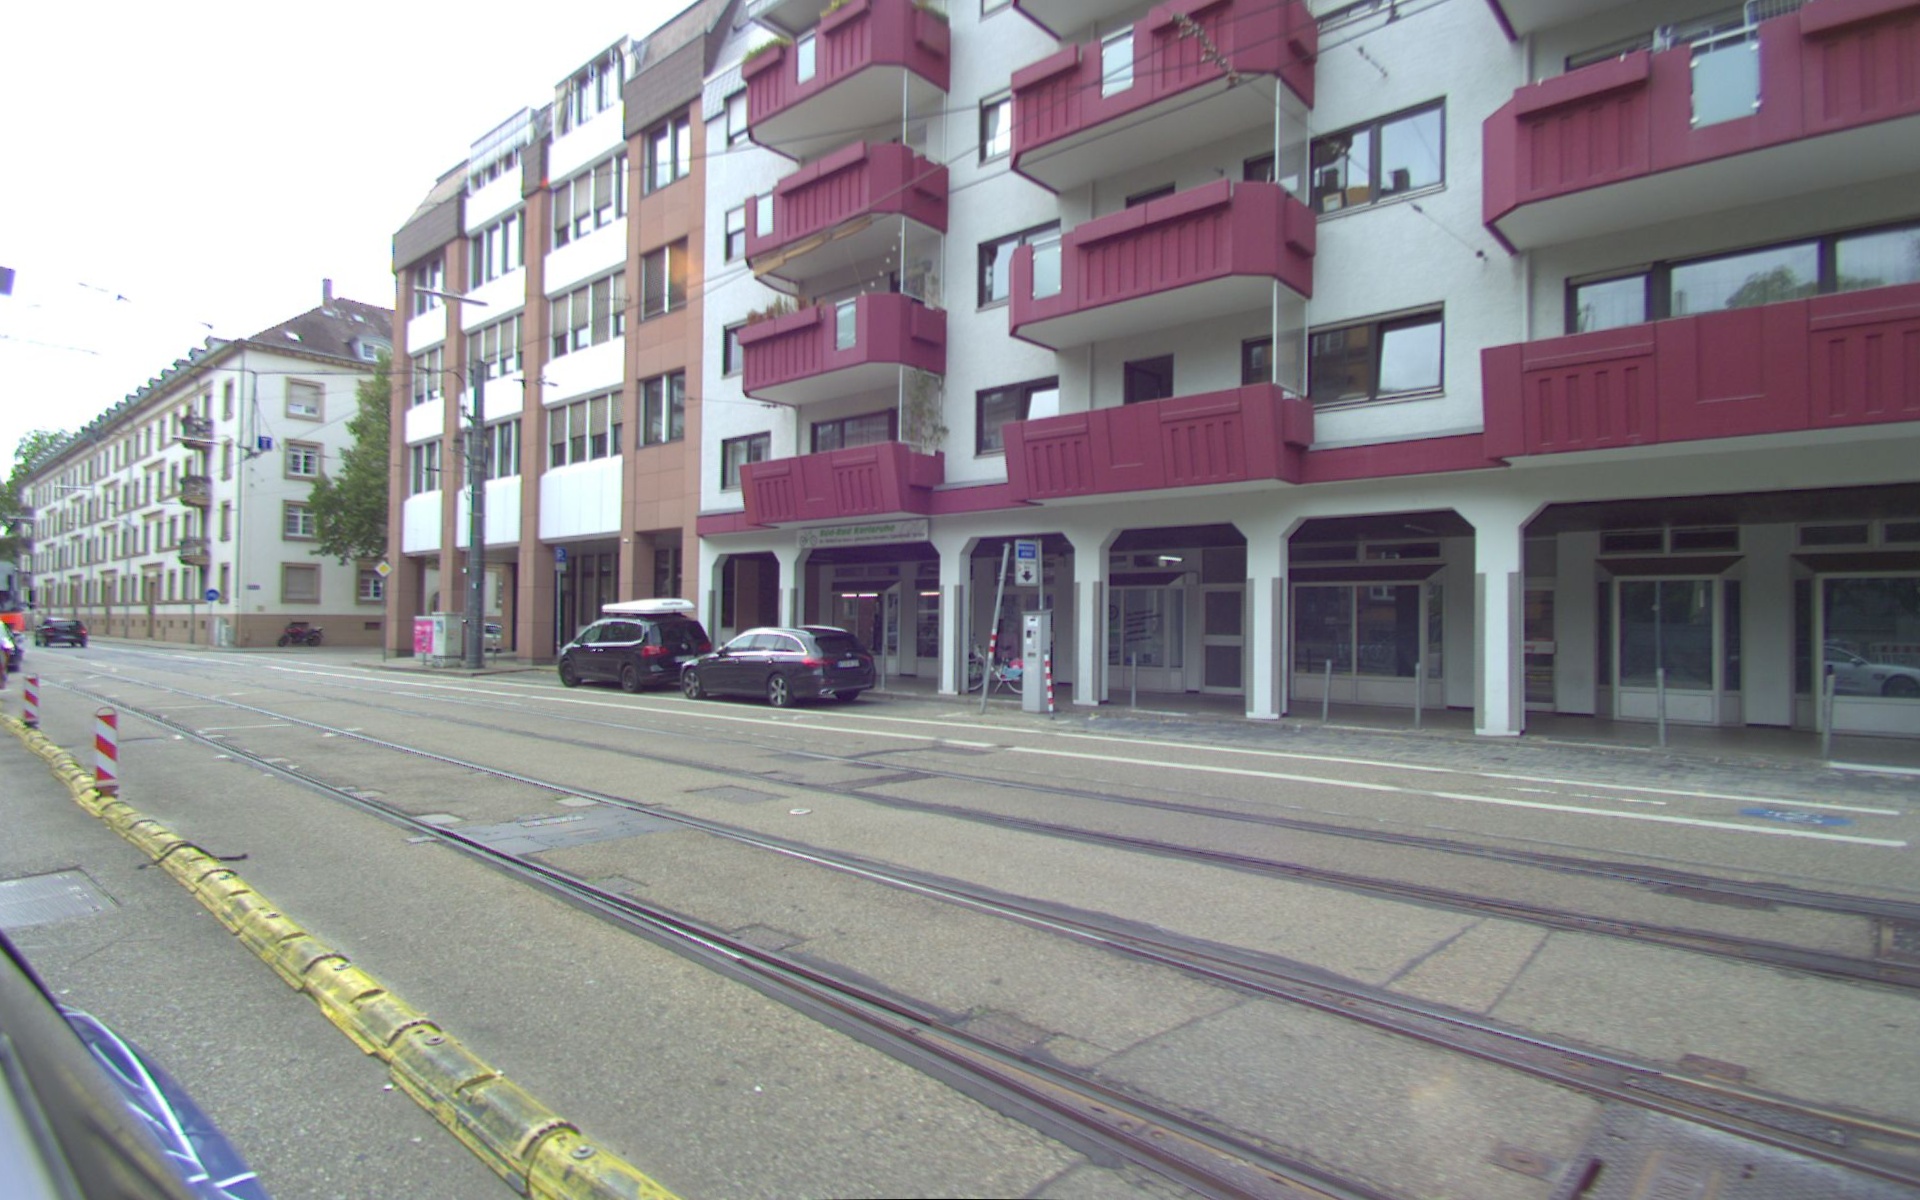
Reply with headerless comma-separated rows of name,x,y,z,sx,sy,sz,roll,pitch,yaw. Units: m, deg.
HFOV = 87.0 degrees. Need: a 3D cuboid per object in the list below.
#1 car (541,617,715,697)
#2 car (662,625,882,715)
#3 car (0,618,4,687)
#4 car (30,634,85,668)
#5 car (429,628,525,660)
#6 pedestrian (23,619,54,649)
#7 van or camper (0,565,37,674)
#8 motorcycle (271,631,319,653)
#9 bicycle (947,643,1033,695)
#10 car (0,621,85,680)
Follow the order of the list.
car,-7.887,1.264,23.791,4.697,1.659,1.787,-1,0,42
car,-3.771,1.269,19.767,4.697,1.491,1.736,-1,0,42
car,-22.183,1.207,21.879,1.746,1.603,4.291,0,-1,-37
car,-45.602,2.542,51.085,4.049,1.549,1.749,-2,-1,44
car,-21.579,1.945,45.316,1.607,1.399,3.608,-1,-2,33
pedestrian,-58.912,2.166,64.702,1.003,1.856,1.003,0,-2,-7
van or camper,-34.265,0.694,34.919,9.650,3.447,2.573,-1,-2,42
motorcycle,-34.087,2.163,51.901,0.793,1.094,1.899,-2,-2,42
bicycle,0.564,1.315,19.554,1.646,0.960,0.559,-1,-2,36
car,-26.536,1.388,28.876,1.744,1.546,4.060,-1,-1,-32
